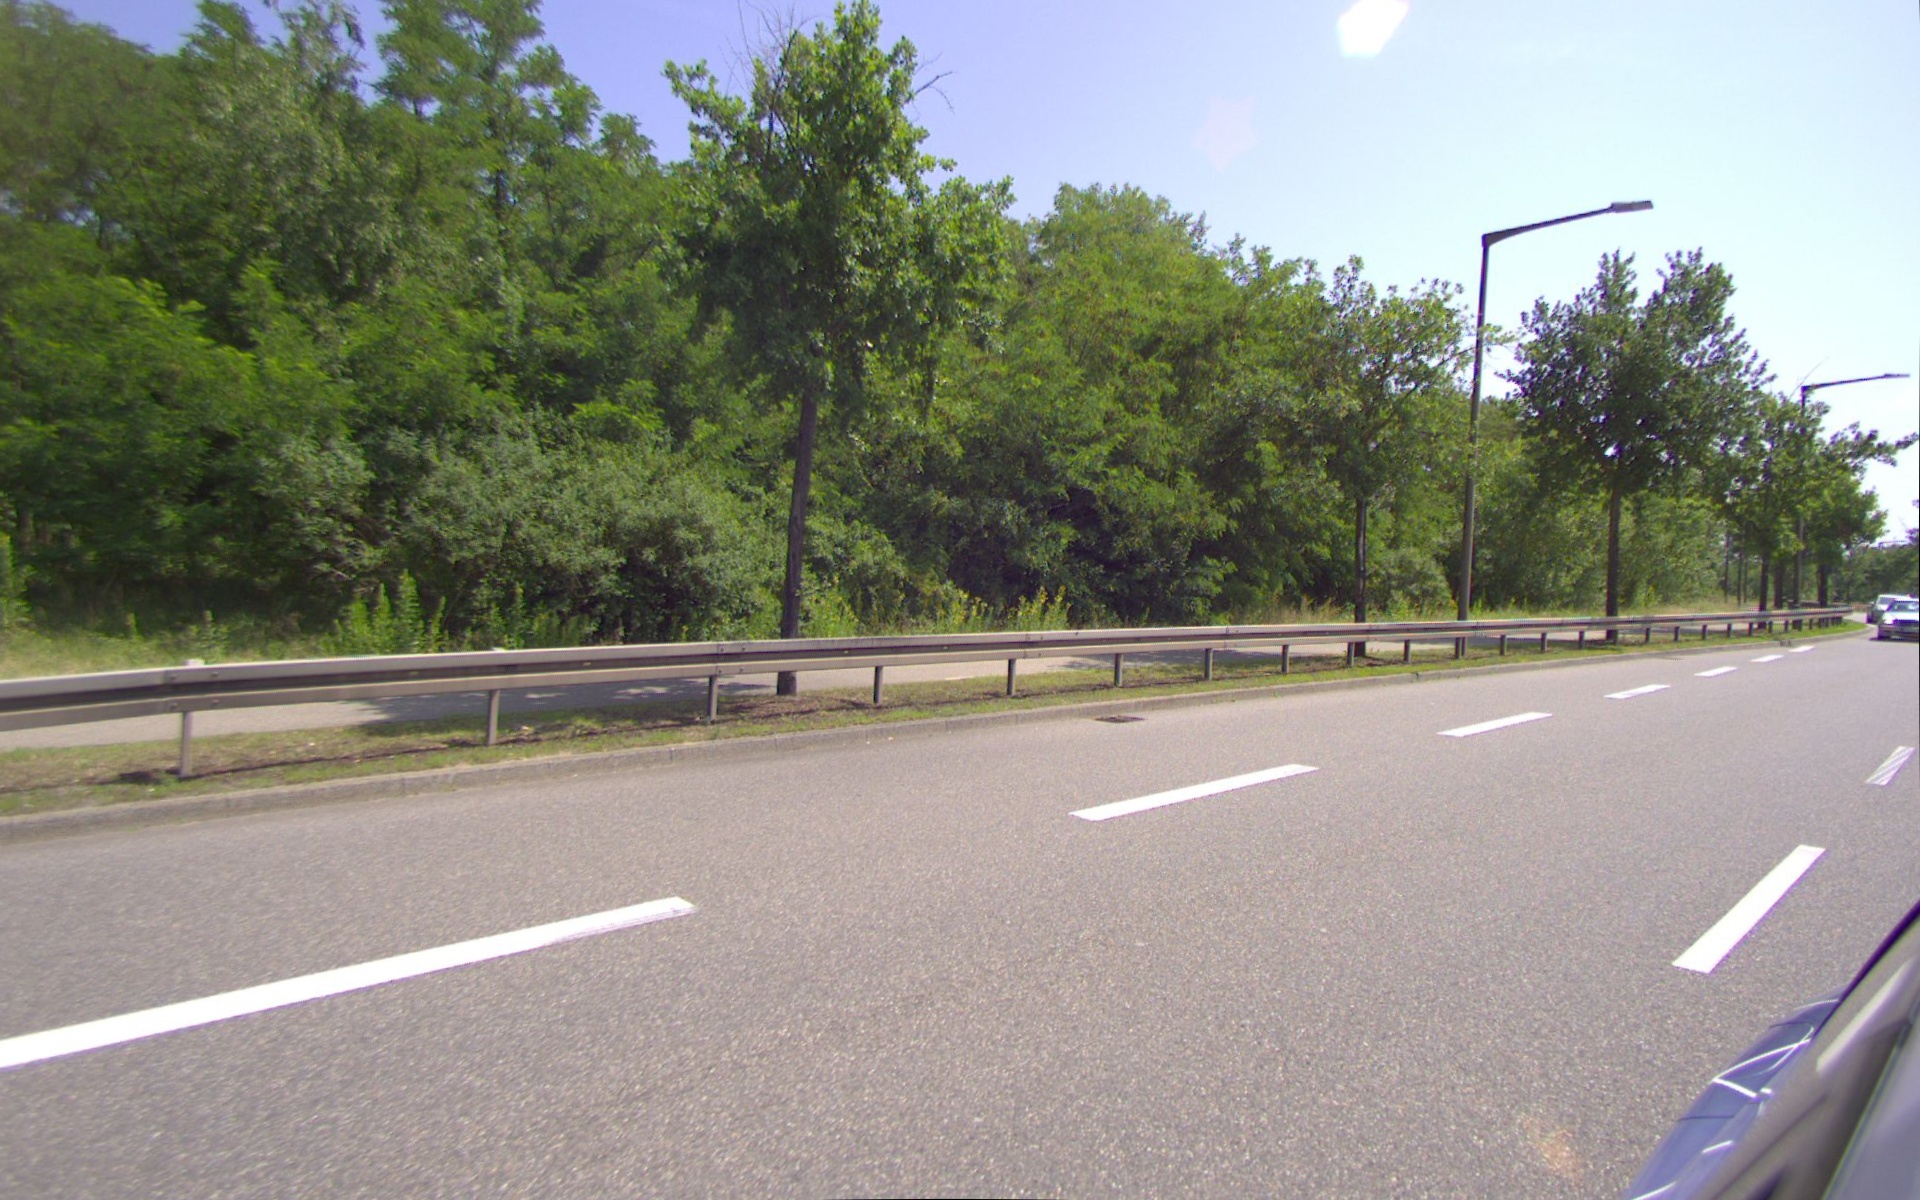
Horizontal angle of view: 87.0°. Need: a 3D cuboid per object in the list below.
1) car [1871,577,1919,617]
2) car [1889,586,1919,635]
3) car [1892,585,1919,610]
[{"bbox_3d":[46.042,-0.156,49.591,1.792,1.804,4.232,5,3,39],"label":"car"},{"bbox_3d":[31.949,0.326,33.379,1.759,1.517,4.166,2,2,45],"label":"car"},{"bbox_3d":[74.631,-0.202,79.618,1.807,1.780,4.186,6,3,42],"label":"car"}]
